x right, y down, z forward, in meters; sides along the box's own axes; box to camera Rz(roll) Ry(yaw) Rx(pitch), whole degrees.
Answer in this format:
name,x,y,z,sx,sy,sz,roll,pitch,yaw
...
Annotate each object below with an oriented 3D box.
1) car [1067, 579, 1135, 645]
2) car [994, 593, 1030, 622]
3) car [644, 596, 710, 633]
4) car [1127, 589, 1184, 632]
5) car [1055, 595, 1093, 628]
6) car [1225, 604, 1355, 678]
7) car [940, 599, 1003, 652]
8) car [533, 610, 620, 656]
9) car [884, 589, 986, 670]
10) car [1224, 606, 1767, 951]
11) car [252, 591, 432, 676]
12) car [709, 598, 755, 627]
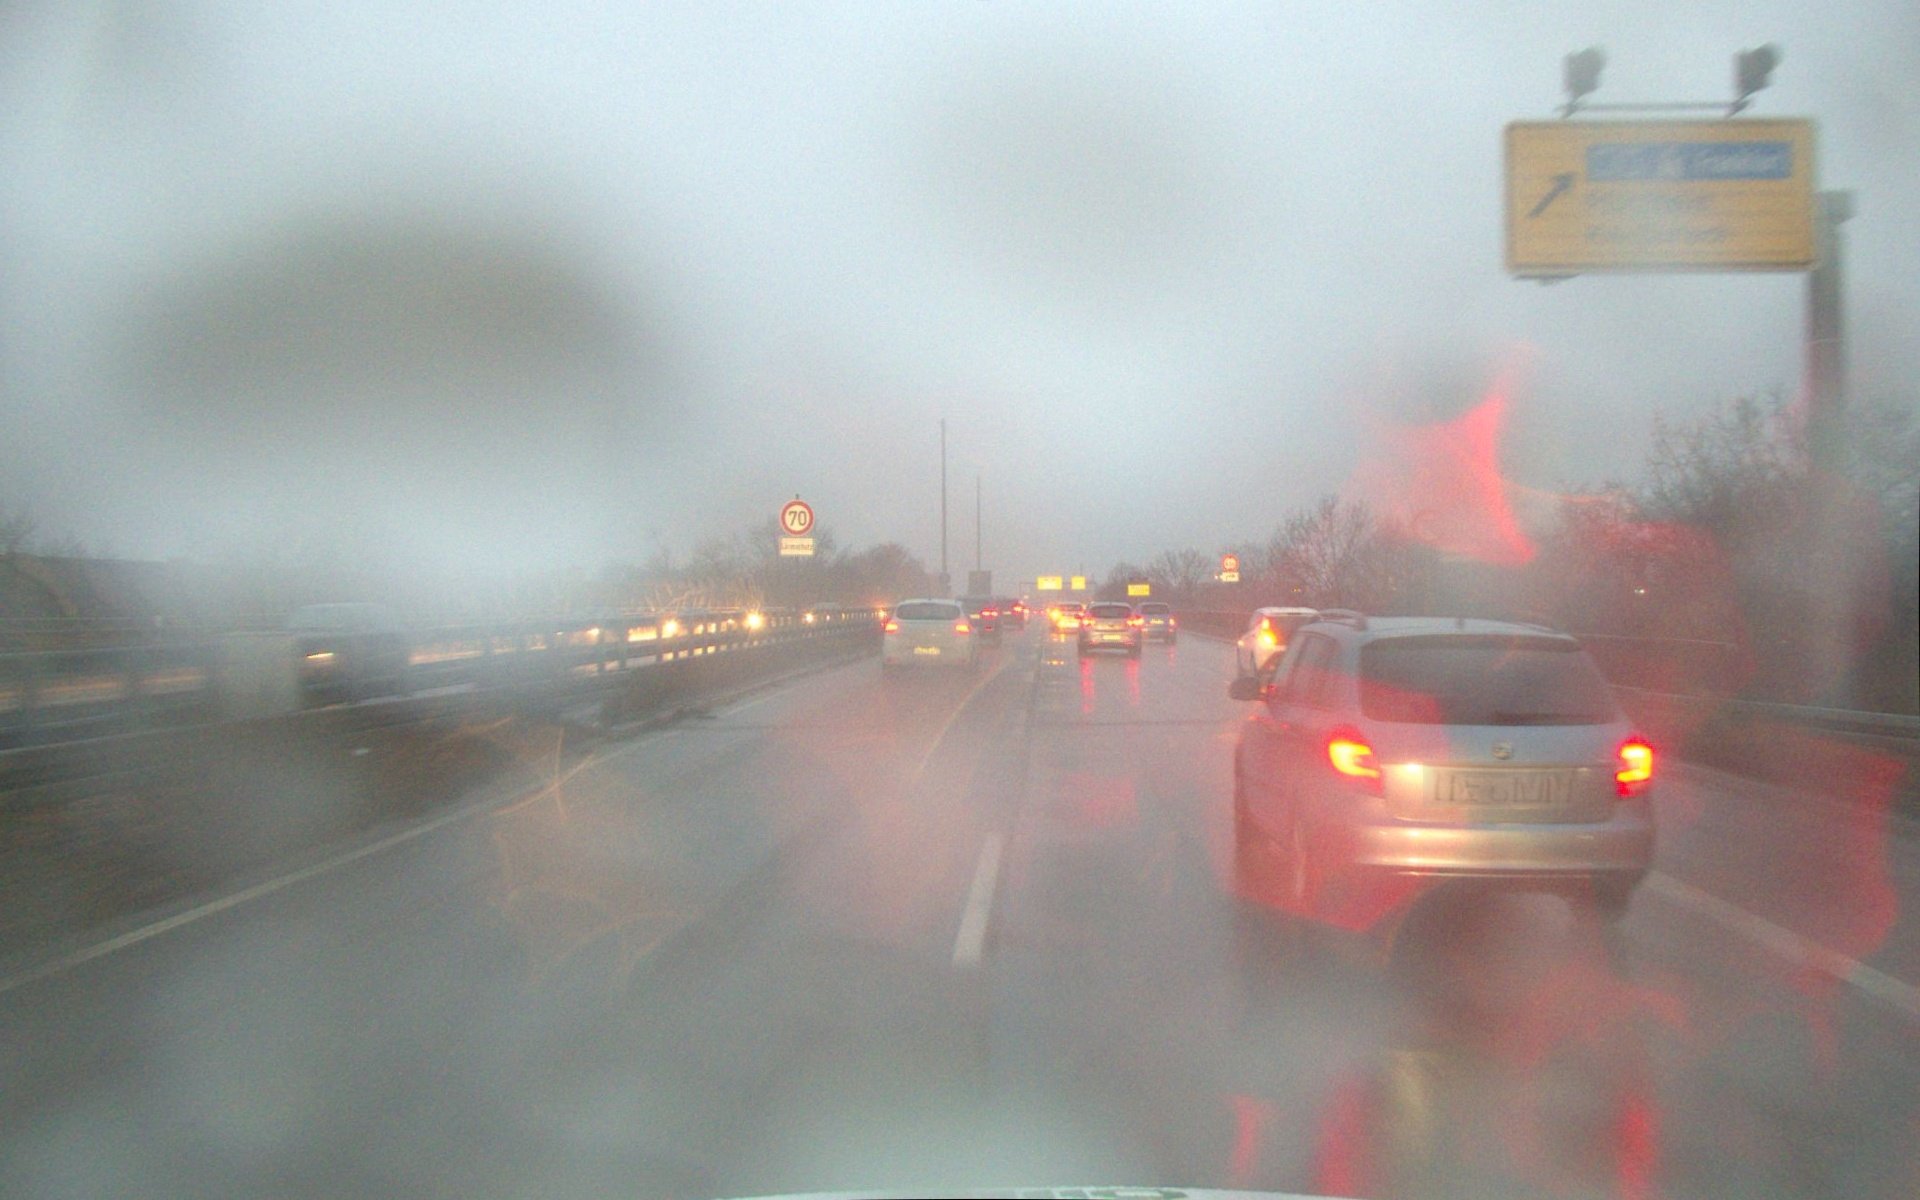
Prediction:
name,x,y,z,sx,sy,sz,roll,pitch,yaw
car,4.094,0.330,47.962,1.857,1.798,4.311,1,0,5
car,2.828,0.390,90.119,1.753,1.572,3.999,1,0,-1
car,-12.026,0.595,70.677,1.855,1.490,4.830,-1,0,1
car,7.406,0.379,62.948,1.752,1.572,4.001,-1,0,1
car,5.485,0.525,79.928,1.752,1.572,4.001,0,0,2
car,6.590,0.785,33.401,1.952,1.369,4.001,0,0,2
car,0.412,0.827,55.582,1.952,1.629,4.310,1,0,2
car,-13.189,1.109,57.189,1.855,1.490,4.460,-1,0,1
car,-0.427,0.535,32.538,1.688,1.465,4.227,1,0,3
car,2.722,0.810,9.483,1.952,1.527,4.139,0,0,3
car,-12.282,0.613,33.213,1.749,1.592,4.852,0,0,1
car,-12.495,0.668,90.810,1.855,1.490,4.000,-1,0,1
